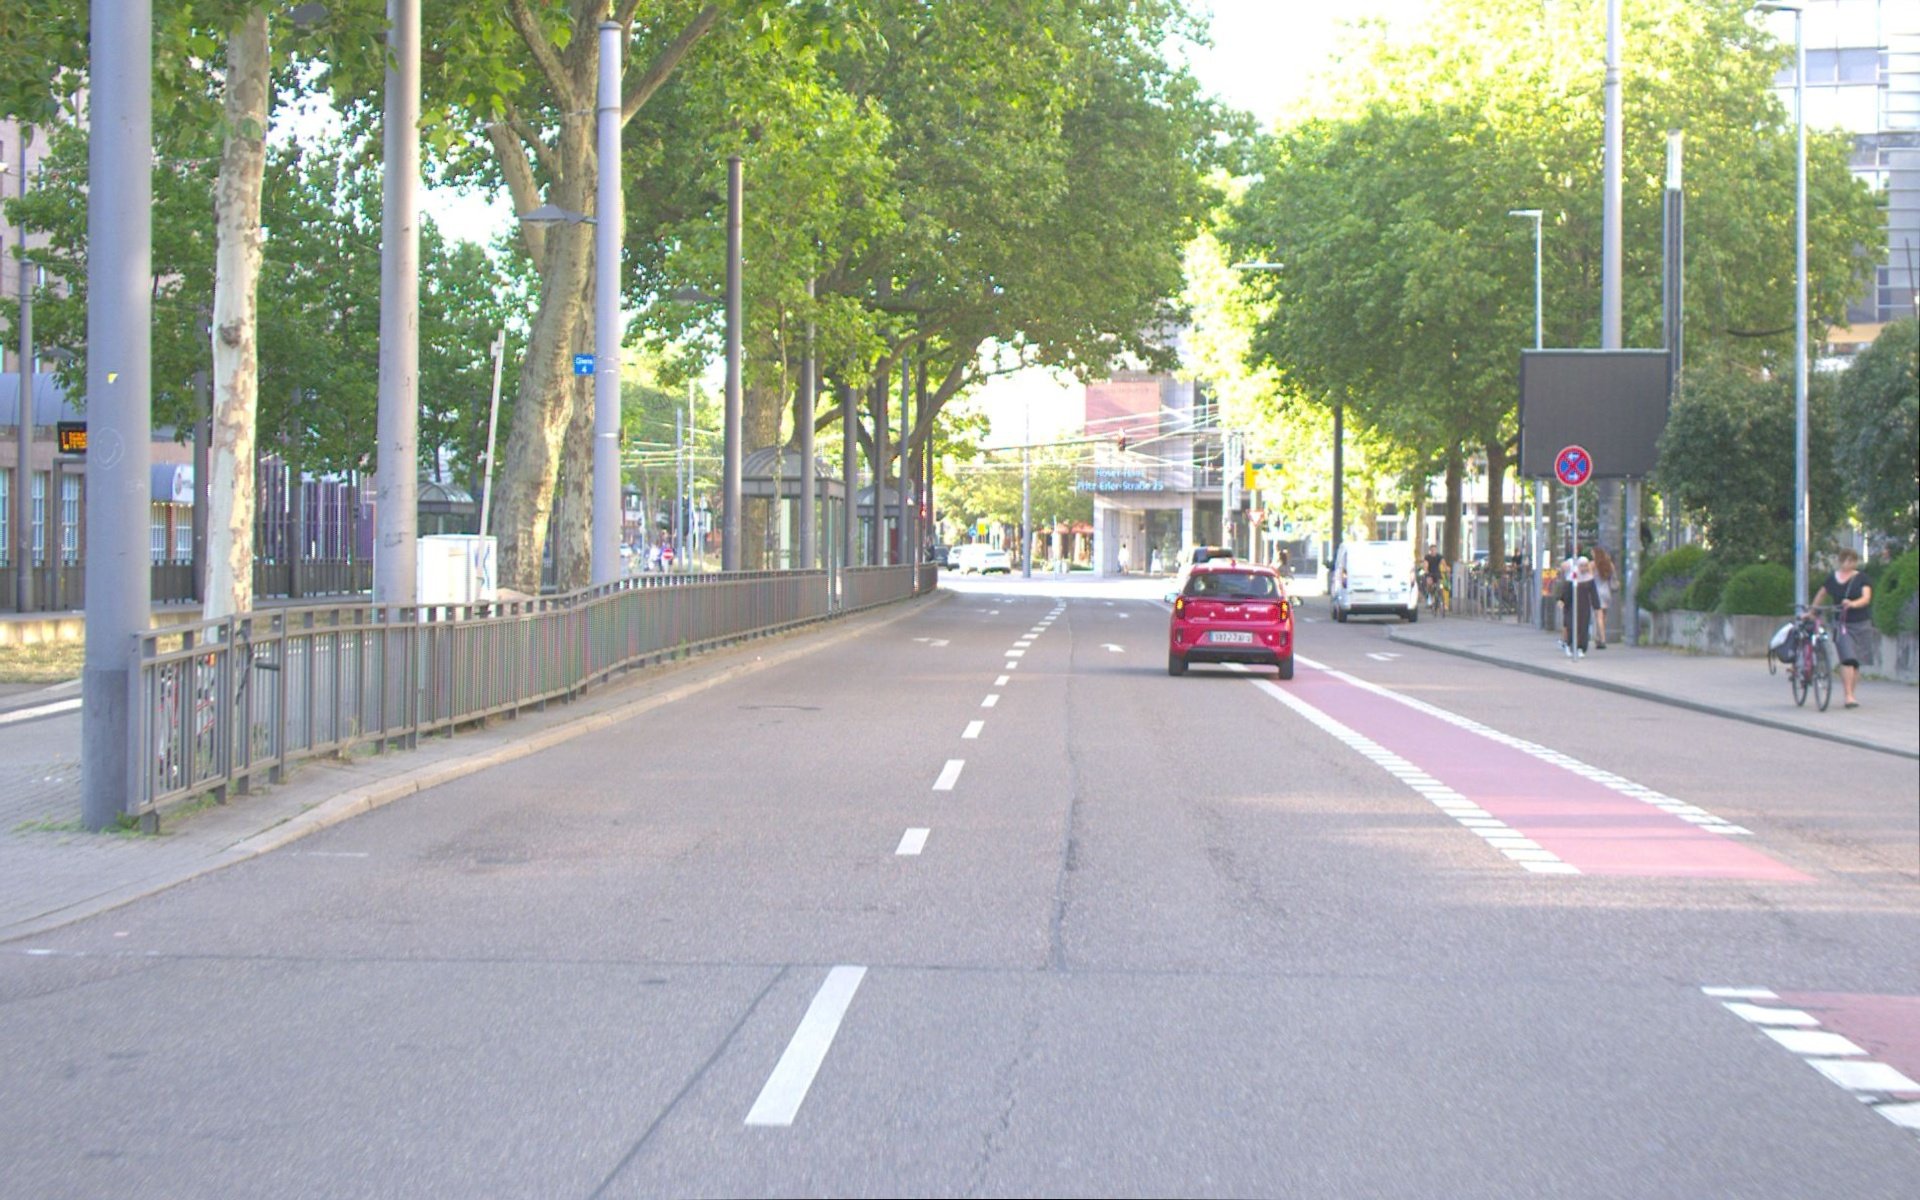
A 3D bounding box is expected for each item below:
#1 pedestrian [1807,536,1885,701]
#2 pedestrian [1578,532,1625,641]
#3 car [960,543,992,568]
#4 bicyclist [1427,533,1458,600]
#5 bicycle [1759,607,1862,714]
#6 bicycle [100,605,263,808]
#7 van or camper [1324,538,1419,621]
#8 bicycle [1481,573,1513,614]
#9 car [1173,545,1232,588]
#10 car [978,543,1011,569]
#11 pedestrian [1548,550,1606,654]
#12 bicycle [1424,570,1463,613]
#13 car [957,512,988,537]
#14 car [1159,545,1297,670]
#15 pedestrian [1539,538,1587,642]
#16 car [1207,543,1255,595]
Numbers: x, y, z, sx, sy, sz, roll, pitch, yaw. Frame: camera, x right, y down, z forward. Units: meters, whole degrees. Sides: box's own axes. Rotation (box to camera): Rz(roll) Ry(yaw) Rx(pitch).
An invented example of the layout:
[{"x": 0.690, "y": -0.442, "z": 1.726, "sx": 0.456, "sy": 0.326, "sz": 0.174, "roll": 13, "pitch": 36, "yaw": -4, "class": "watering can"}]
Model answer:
[{"x": 9.080, "y": 0.182, "z": 35.245, "sx": 0.646, "sy": 1.674, "sz": 0.651, "roll": 1, "pitch": 1, "yaw": 4, "class": "pedestrian"}, {"x": 10.667, "y": -0.229, "z": 57.193, "sx": 0.540, "sy": 1.790, "sz": 0.907, "roll": -2, "pitch": 1, "yaw": 0, "class": "pedestrian"}, {"x": 0.998, "y": -2.841, "z": 217.927, "sx": 1.777, "sy": 1.529, "sz": 3.412, "roll": 1, "pitch": 1, "yaw": -3, "class": "car"}, {"x": 12.433, "y": -0.859, "z": 88.560, "sx": 0.649, "sy": 1.696, "sz": 0.952, "roll": 1, "pitch": 1, "yaw": 1, "class": "bicyclist"}, {"x": 8.697, "y": 0.602, "z": 35.229, "sx": 0.520, "sy": 0.971, "sz": 2.201, "roll": -3, "pitch": 1, "yaw": 1, "class": "bicycle"}, {"x": -4.088, "y": 0.542, "z": 18.120, "sx": 0.395, "sy": 0.945, "sz": 1.351, "roll": 1, "pitch": 3, "yaw": 7, "class": "bicycle"}, {"x": 10.247, "y": -0.523, "z": 85.858, "sx": 1.994, "sy": 1.982, "sz": 4.744, "roll": 1, "pitch": 1, "yaw": 3, "class": "van or camper"}, {"x": 14.246, "y": -0.190, "z": 91.164, "sx": 0.586, "sy": 1.063, "sz": 1.900, "roll": 0, "pitch": 1, "yaw": 1, "class": "bicycle"}, {"x": 9.099, "y": -1.282, "z": 129.301, "sx": 1.777, "sy": 1.529, "sz": 3.513, "roll": 1, "pitch": 1, "yaw": -3, "class": "car"}, {"x": 2.115, "y": -2.704, "z": 211.290, "sx": 1.777, "sy": 1.529, "sz": 3.412, "roll": 1, "pitch": 1, "yaw": -3, "class": "car"}, {"x": 9.614, "y": 0.022, "z": 53.582, "sx": 0.641, "sy": 1.574, "sz": 0.723, "roll": -3, "pitch": 1, "yaw": -6, "class": "pedestrian"}, {"x": 12.433, "y": -0.231, "z": 88.476, "sx": 0.683, "sy": 1.063, "sz": 2.469, "roll": 0, "pitch": 1, "yaw": 1, "class": "bicycle"}, {"x": 0.792, "y": -4.911, "z": 223.921, "sx": 1.777, "sy": 1.583, "sz": 3.412, "roll": 1, "pitch": 1, "yaw": -3, "class": "car"}, {"x": 3.474, "y": 0.070, "z": 45.065, "sx": 1.613, "sy": 1.529, "sz": 3.412, "roll": 1, "pitch": 1, "yaw": 2, "class": "car"}, {"x": 10.024, "y": -0.171, "z": 57.188, "sx": 0.564, "sy": 1.696, "sz": 0.907, "roll": -2, "pitch": 1, "yaw": 0, "class": "pedestrian"}, {"x": 9.666, "y": -1.113, "z": 122.825, "sx": 1.636, "sy": 1.794, "sz": 3.329, "roll": 1, "pitch": 1, "yaw": 4, "class": "car"}]
